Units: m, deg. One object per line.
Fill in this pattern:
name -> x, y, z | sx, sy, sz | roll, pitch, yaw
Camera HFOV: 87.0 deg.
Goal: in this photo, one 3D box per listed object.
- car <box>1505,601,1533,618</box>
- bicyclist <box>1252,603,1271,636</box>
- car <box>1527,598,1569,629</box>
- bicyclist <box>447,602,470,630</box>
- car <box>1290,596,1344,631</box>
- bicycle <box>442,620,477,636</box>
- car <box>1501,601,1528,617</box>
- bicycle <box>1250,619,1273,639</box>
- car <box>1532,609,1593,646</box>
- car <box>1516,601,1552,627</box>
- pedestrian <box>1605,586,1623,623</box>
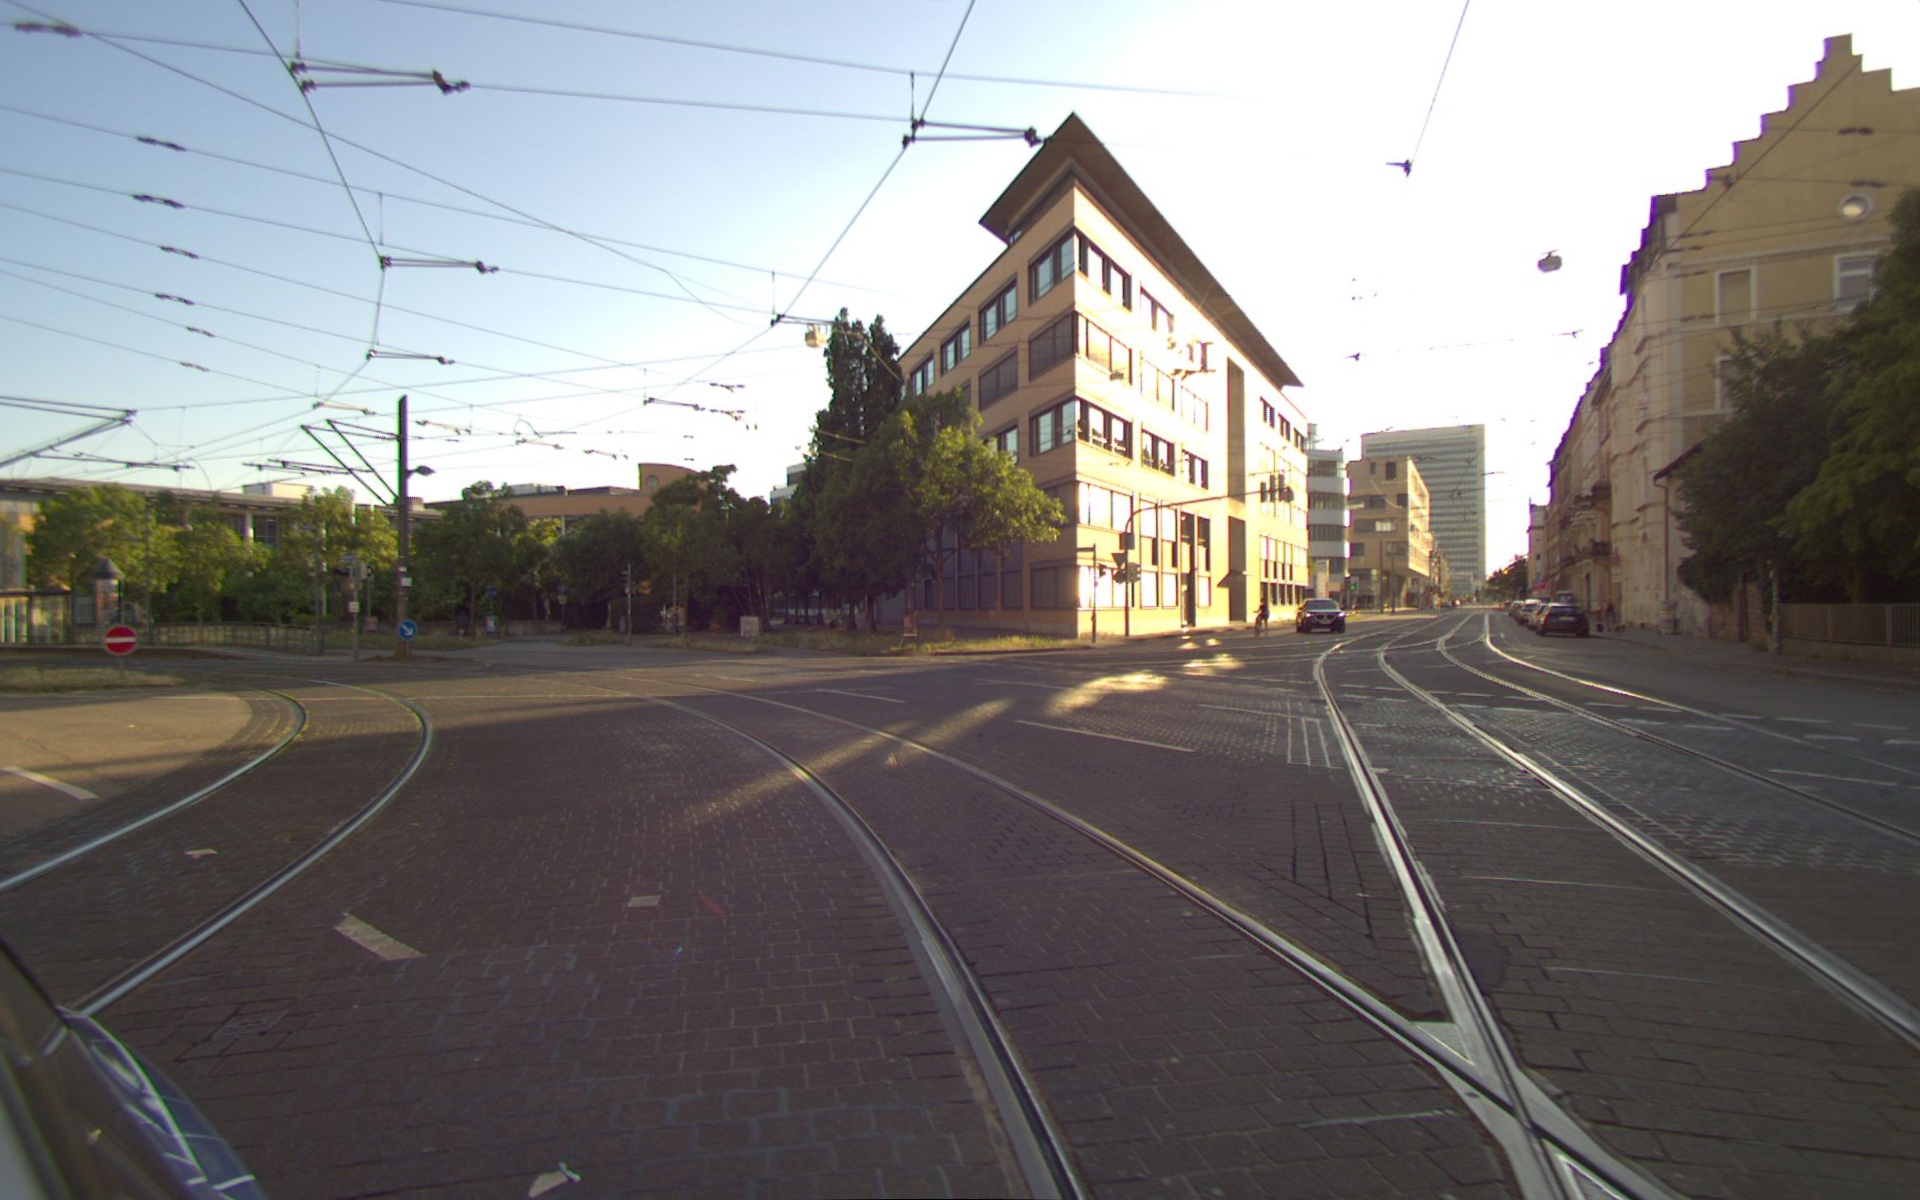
car -> 50.513, 0.831, 91.514 | 1.858, 1.497, 3.967 | -1, 0, 24
bicyclist -> 13.467, 0.862, 45.216 | 0.664, 1.464, 0.736 | -1, -1, 28
car -> 30.728, 0.684, 52.913 | 1.837, 1.497, 3.959 | -1, 0, 30
bicyclist -> -27.112, 0.878, 54.730 | 0.824, 1.478, 0.762 | -1, 0, 31
car -> 16.313, 0.599, 46.144 | 1.988, 1.497, 3.967 | -1, 0, 25
bicycle -> -27.030, 1.523, 54.695 | 1.959, 0.827, 0.768 | -1, 0, 31
car -> 53.788, 0.886, 98.167 | 1.988, 1.497, 3.967 | -1, 0, 24
bicycle -> 13.446, 1.291, 45.171 | 0.655, 0.839, 1.675 | -1, 0, 28
car -> 26.041, 1.166, 43.848 | 1.990, 1.497, 3.963 | -1, 0, 28
car -> 35.443, 0.850, 62.475 | 1.841, 1.497, 3.959 | -1, 0, 30
pedestrian -> 30.486, 0.213, 47.194 | 0.583, 1.718, 0.710 | -1, 0, 27
